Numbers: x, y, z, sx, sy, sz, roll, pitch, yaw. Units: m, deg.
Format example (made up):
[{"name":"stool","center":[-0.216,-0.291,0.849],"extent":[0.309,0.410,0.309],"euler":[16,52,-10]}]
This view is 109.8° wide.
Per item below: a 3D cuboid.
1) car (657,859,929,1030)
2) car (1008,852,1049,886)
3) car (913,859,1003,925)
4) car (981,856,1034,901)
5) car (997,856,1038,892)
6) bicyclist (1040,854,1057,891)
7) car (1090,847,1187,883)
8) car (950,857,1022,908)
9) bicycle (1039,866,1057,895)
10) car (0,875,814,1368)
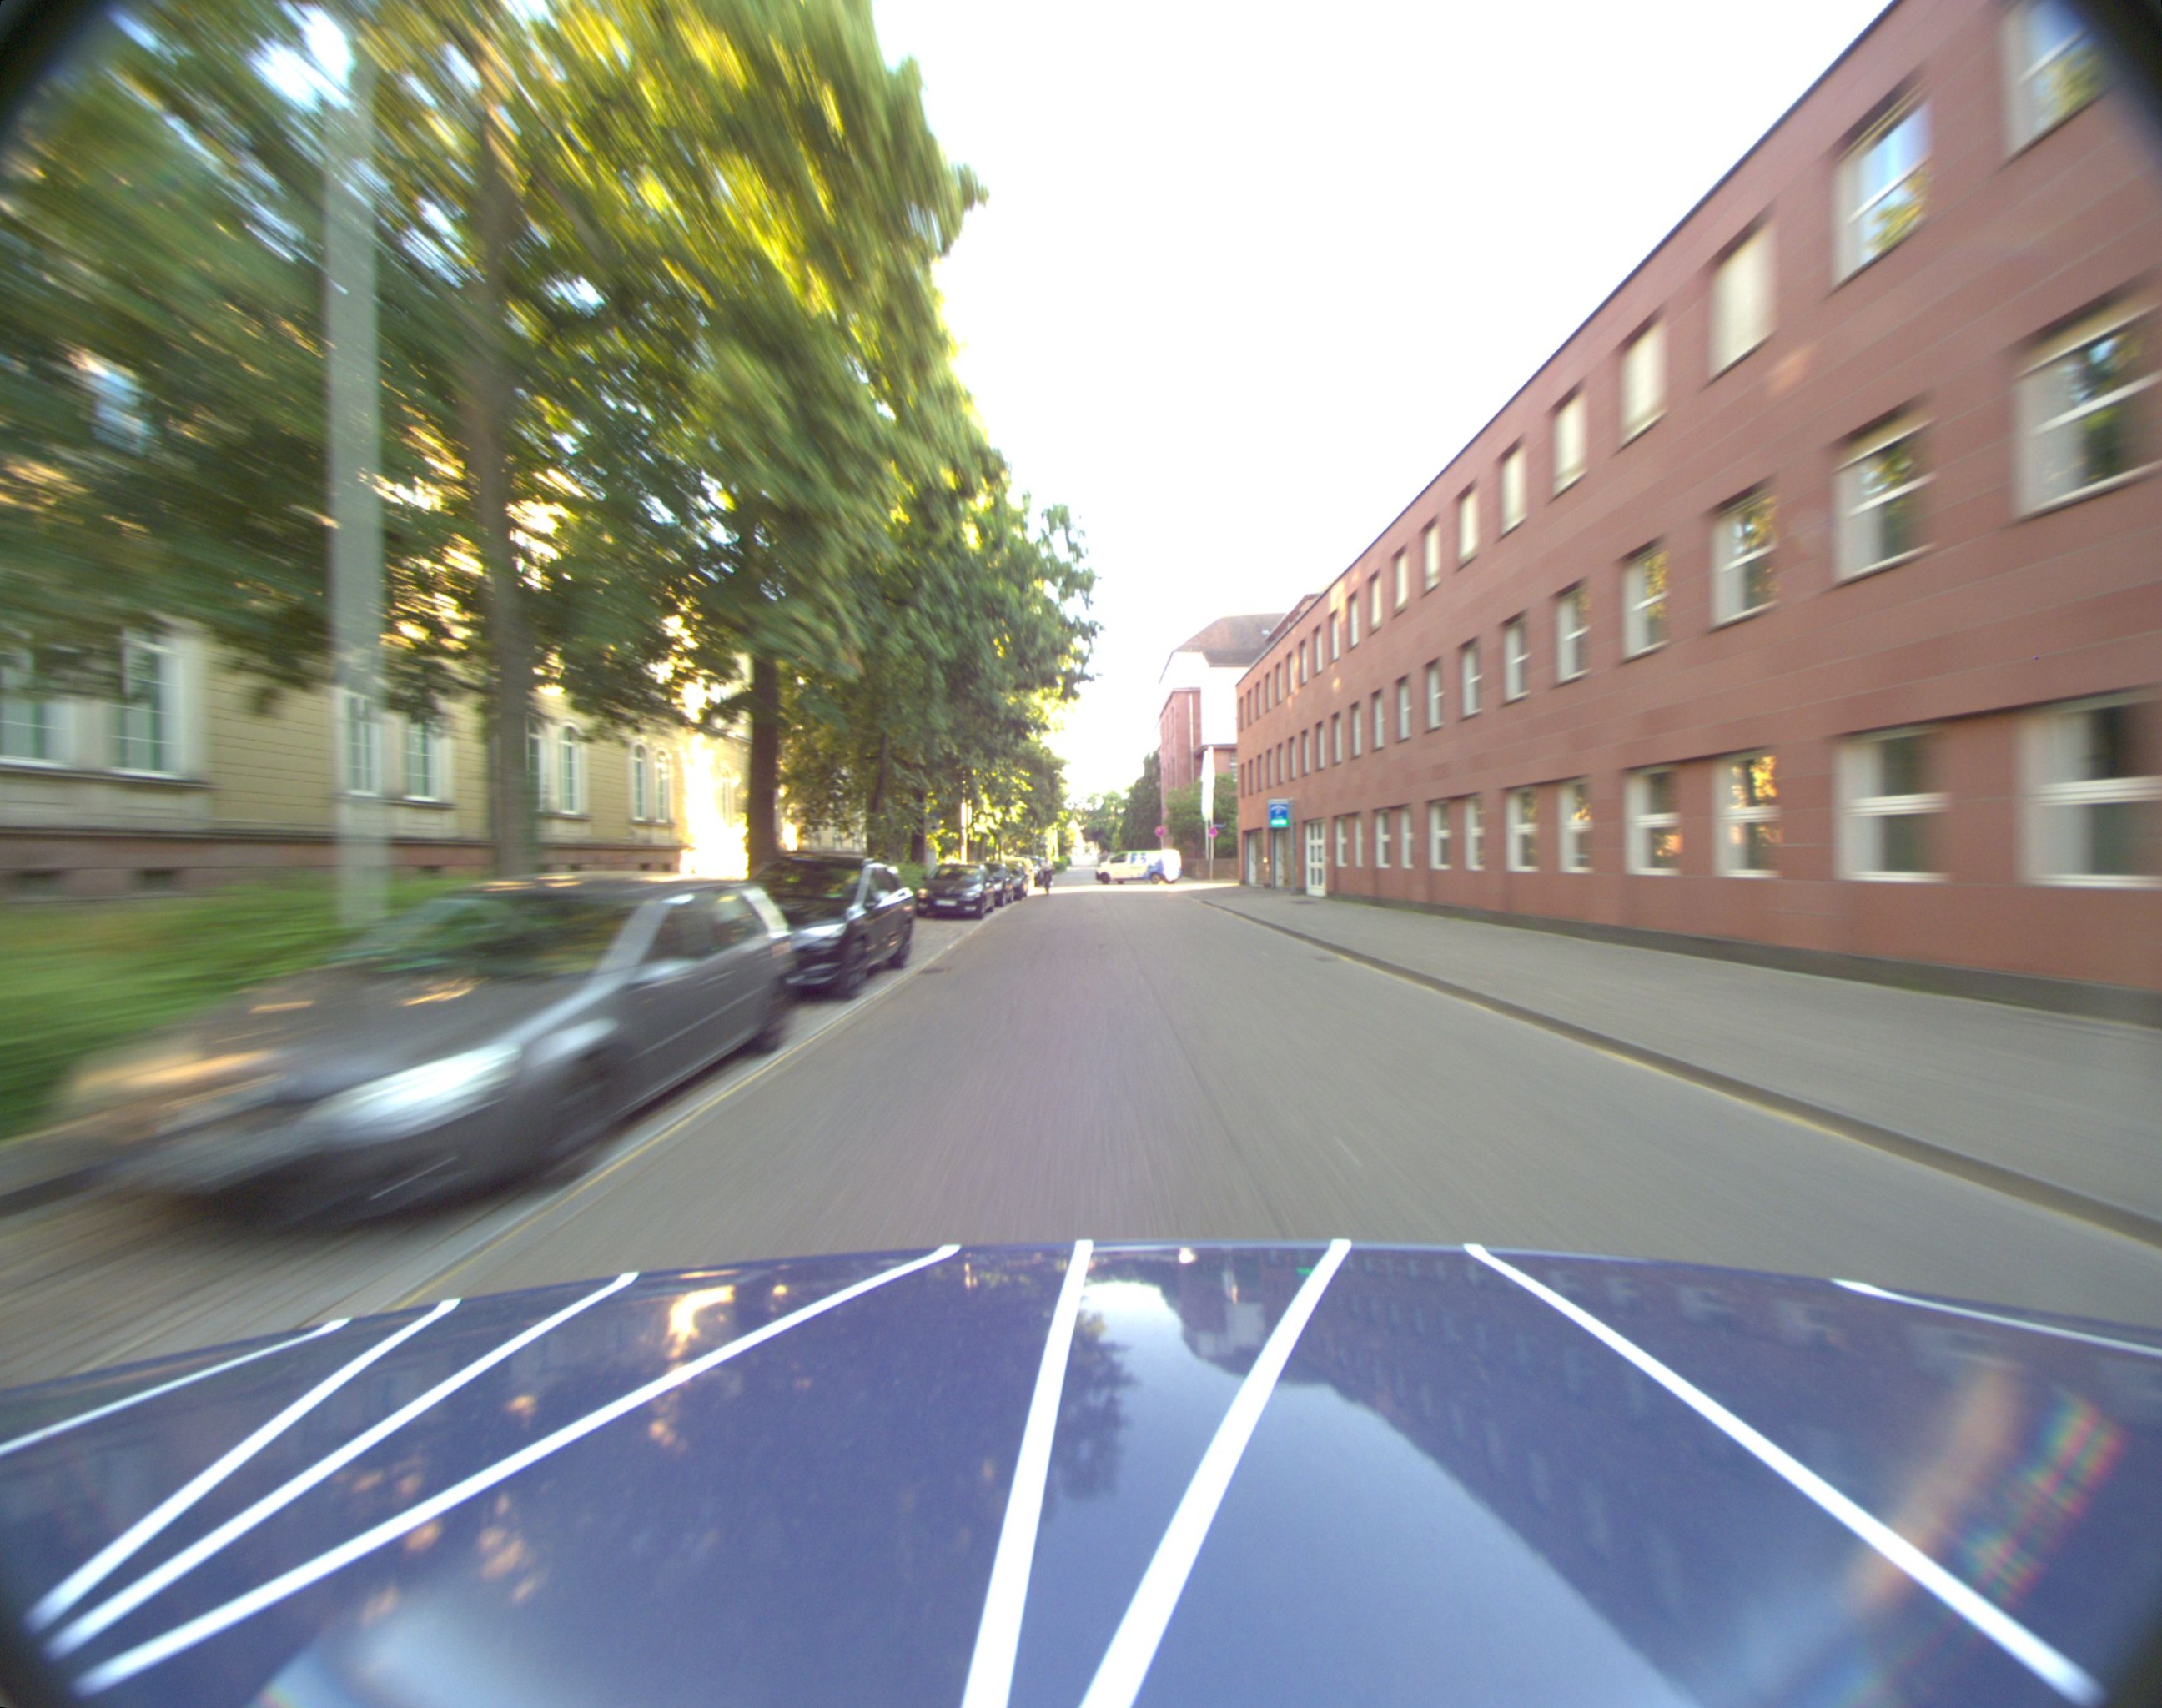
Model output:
[{"name":"car","center":[-3.366,0.941,9.924],"extent":[1.811,1.641,4.418],"euler":[3,0,0]},{"name":"car","center":[-3.029,0.816,44.550],"extent":[1.809,1.803,4.947],"euler":[0,1,3]},{"name":"car","center":[-3.319,0.975,21.362],"extent":[1.739,1.498,4.521],"euler":[3,1,0]},{"name":"car","center":[-2.994,0.959,31.788],"extent":[1.728,1.525,4.622],"euler":[4,1,0]},{"name":"car","center":[-3.194,0.967,38.855],"extent":[1.728,1.673,4.498],"euler":[0,1,0]},{"name":"bicyclist","center":[-1.436,0.798,33.789],"extent":[0.753,1.603,1.038],"euler":[0,0,-2]},{"name":"car","center":[3.232,0.662,43.082],"extent":[5.095,1.863,2.004],"euler":[-2,-2,33]},{"name":"car","center":[-3.248,0.930,26.668],"extent":[1.728,1.525,4.190],"euler":[3,1,3]},{"name":"bicycle","center":[-1.456,1.154,33.771],"extent":[0.753,1.245,2.209],"euler":[0,0,-2]},{"name":"car","center":[-3.229,0.953,4.625],"extent":[1.728,1.529,4.189],"euler":[0,0,0]}]
